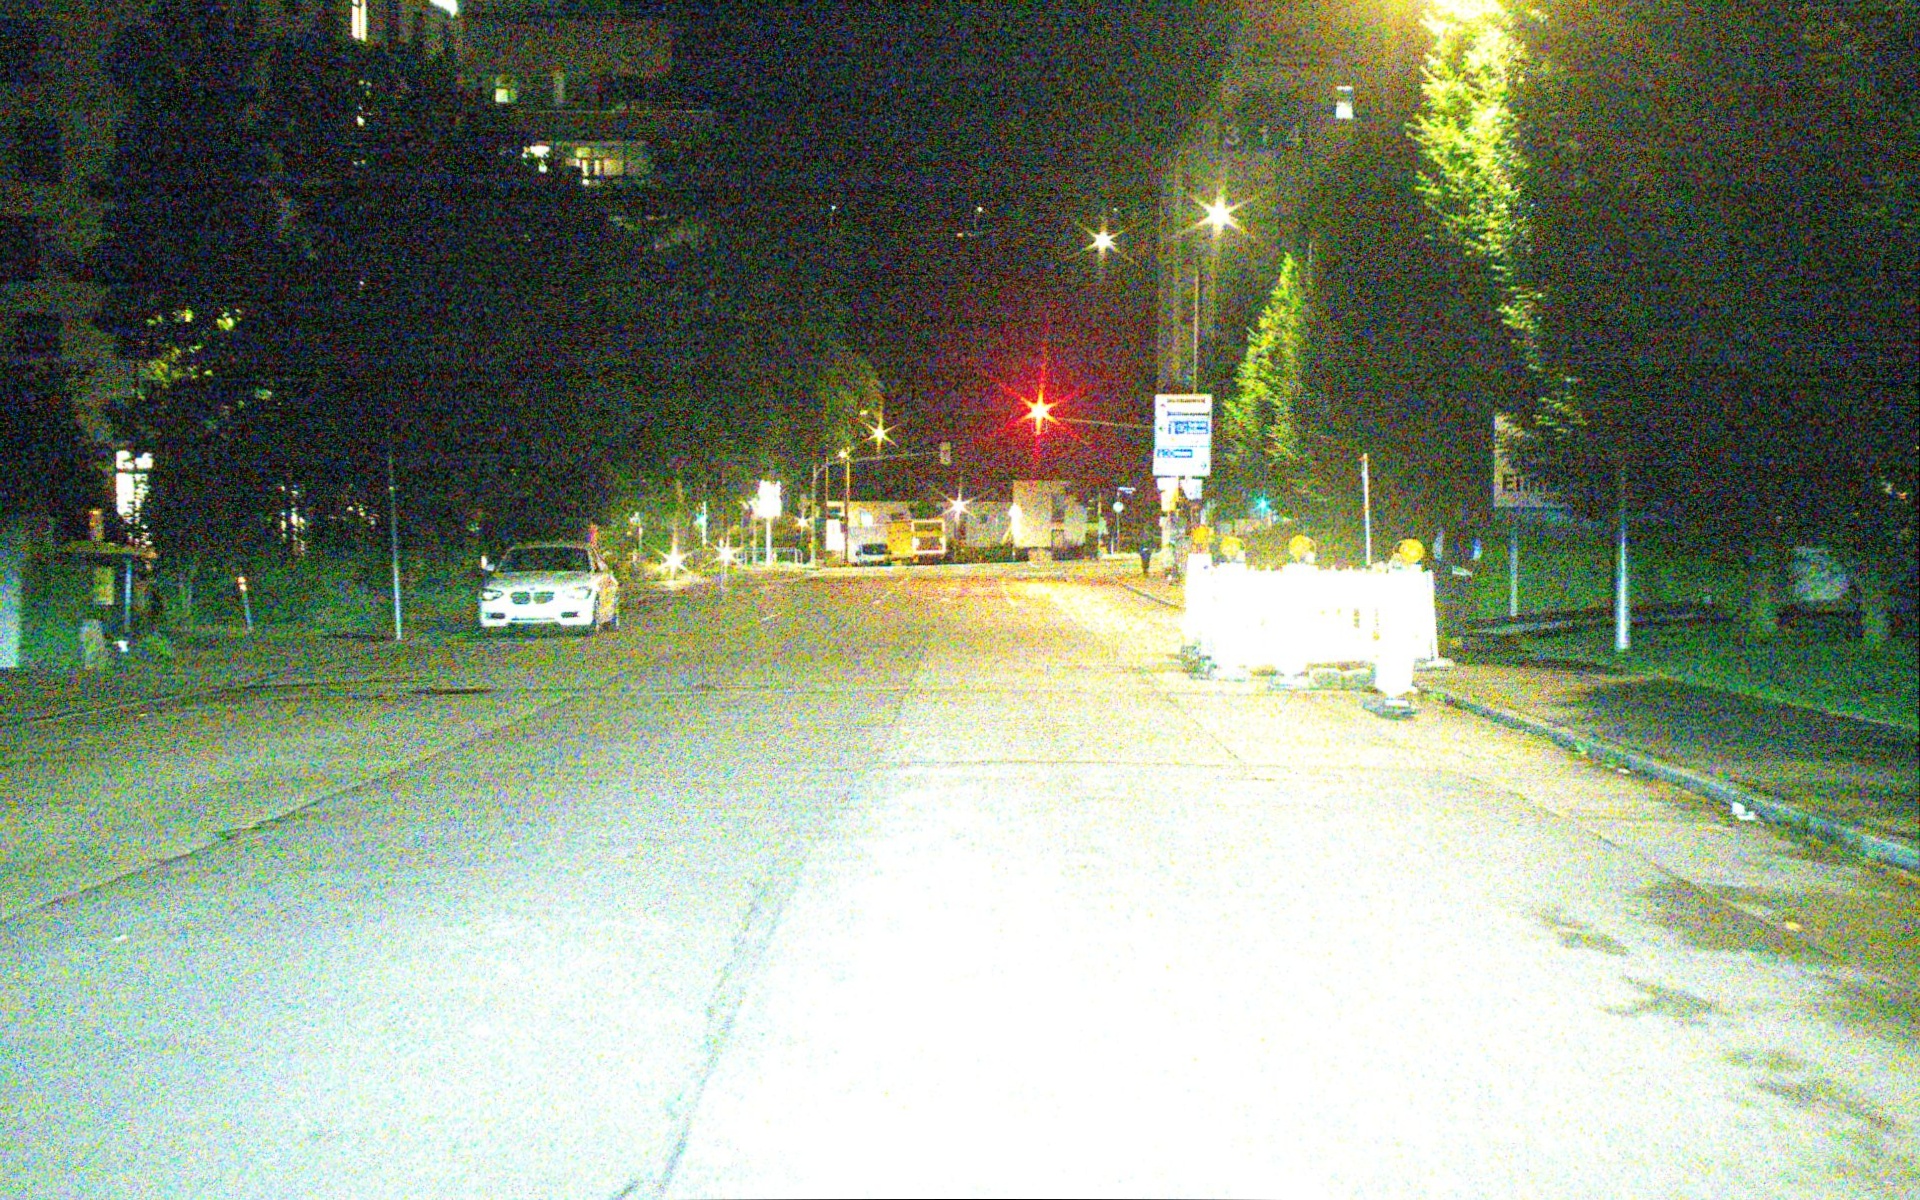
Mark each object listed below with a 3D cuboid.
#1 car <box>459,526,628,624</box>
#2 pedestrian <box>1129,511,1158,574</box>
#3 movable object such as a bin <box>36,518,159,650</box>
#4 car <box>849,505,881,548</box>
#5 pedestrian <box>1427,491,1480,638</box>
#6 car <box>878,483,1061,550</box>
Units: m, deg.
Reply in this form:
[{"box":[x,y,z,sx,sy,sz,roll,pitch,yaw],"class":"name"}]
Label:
[{"box":[-6.262,-0.410,52.118,1.911,1.399,4.338,0,1,1],"class":"car"},{"box":[5.782,-1.824,108.424,0.737,1.975,0.626,0,1,-15],"class":"pedestrian"},{"box":[-9.893,-0.191,39.485,1.164,1.490,1.066,0,1,-2],"class":"movable object such as a bin"},{"box":[-6.526,-5.016,234.904,1.993,2.963,4.001,0,1,-4],"class":"car"},{"box":[6.253,-0.449,43.555,0.570,1.846,0.820,0,1,1],"class":"pedestrian"},{"box":[0.678,-5.989,246.792,12.380,4.693,4.811,0,1,-13],"class":"car"}]
